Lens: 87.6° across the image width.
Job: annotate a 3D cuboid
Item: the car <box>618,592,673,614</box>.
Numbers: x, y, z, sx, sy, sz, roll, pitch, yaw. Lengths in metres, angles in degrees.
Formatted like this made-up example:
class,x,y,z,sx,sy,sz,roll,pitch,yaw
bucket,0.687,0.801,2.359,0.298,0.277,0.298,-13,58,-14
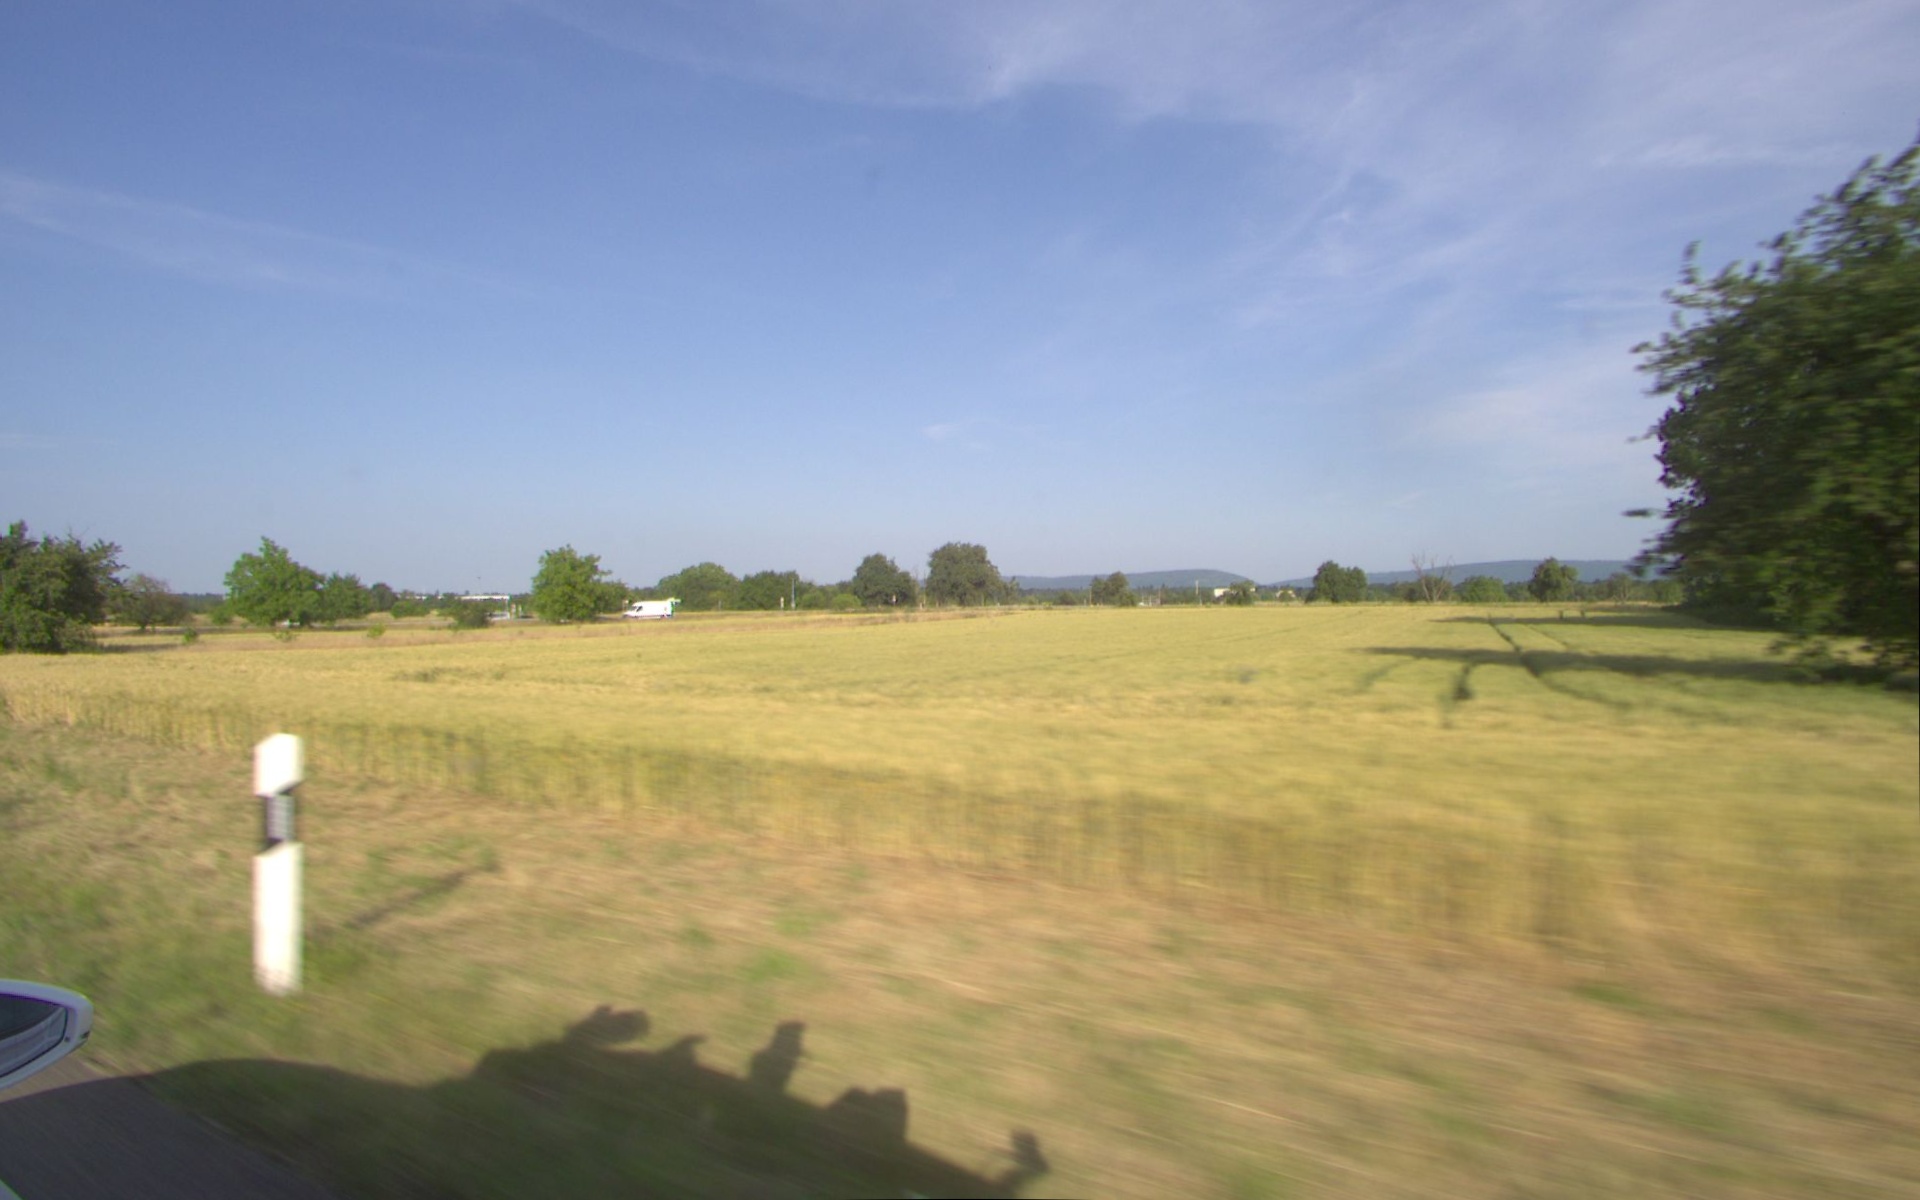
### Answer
class,x,y,z,sx,sy,sz,roll,pitch,yaw
car,-42.967,0.494,136.821,2.294,2.831,6.982,0,-2,42
